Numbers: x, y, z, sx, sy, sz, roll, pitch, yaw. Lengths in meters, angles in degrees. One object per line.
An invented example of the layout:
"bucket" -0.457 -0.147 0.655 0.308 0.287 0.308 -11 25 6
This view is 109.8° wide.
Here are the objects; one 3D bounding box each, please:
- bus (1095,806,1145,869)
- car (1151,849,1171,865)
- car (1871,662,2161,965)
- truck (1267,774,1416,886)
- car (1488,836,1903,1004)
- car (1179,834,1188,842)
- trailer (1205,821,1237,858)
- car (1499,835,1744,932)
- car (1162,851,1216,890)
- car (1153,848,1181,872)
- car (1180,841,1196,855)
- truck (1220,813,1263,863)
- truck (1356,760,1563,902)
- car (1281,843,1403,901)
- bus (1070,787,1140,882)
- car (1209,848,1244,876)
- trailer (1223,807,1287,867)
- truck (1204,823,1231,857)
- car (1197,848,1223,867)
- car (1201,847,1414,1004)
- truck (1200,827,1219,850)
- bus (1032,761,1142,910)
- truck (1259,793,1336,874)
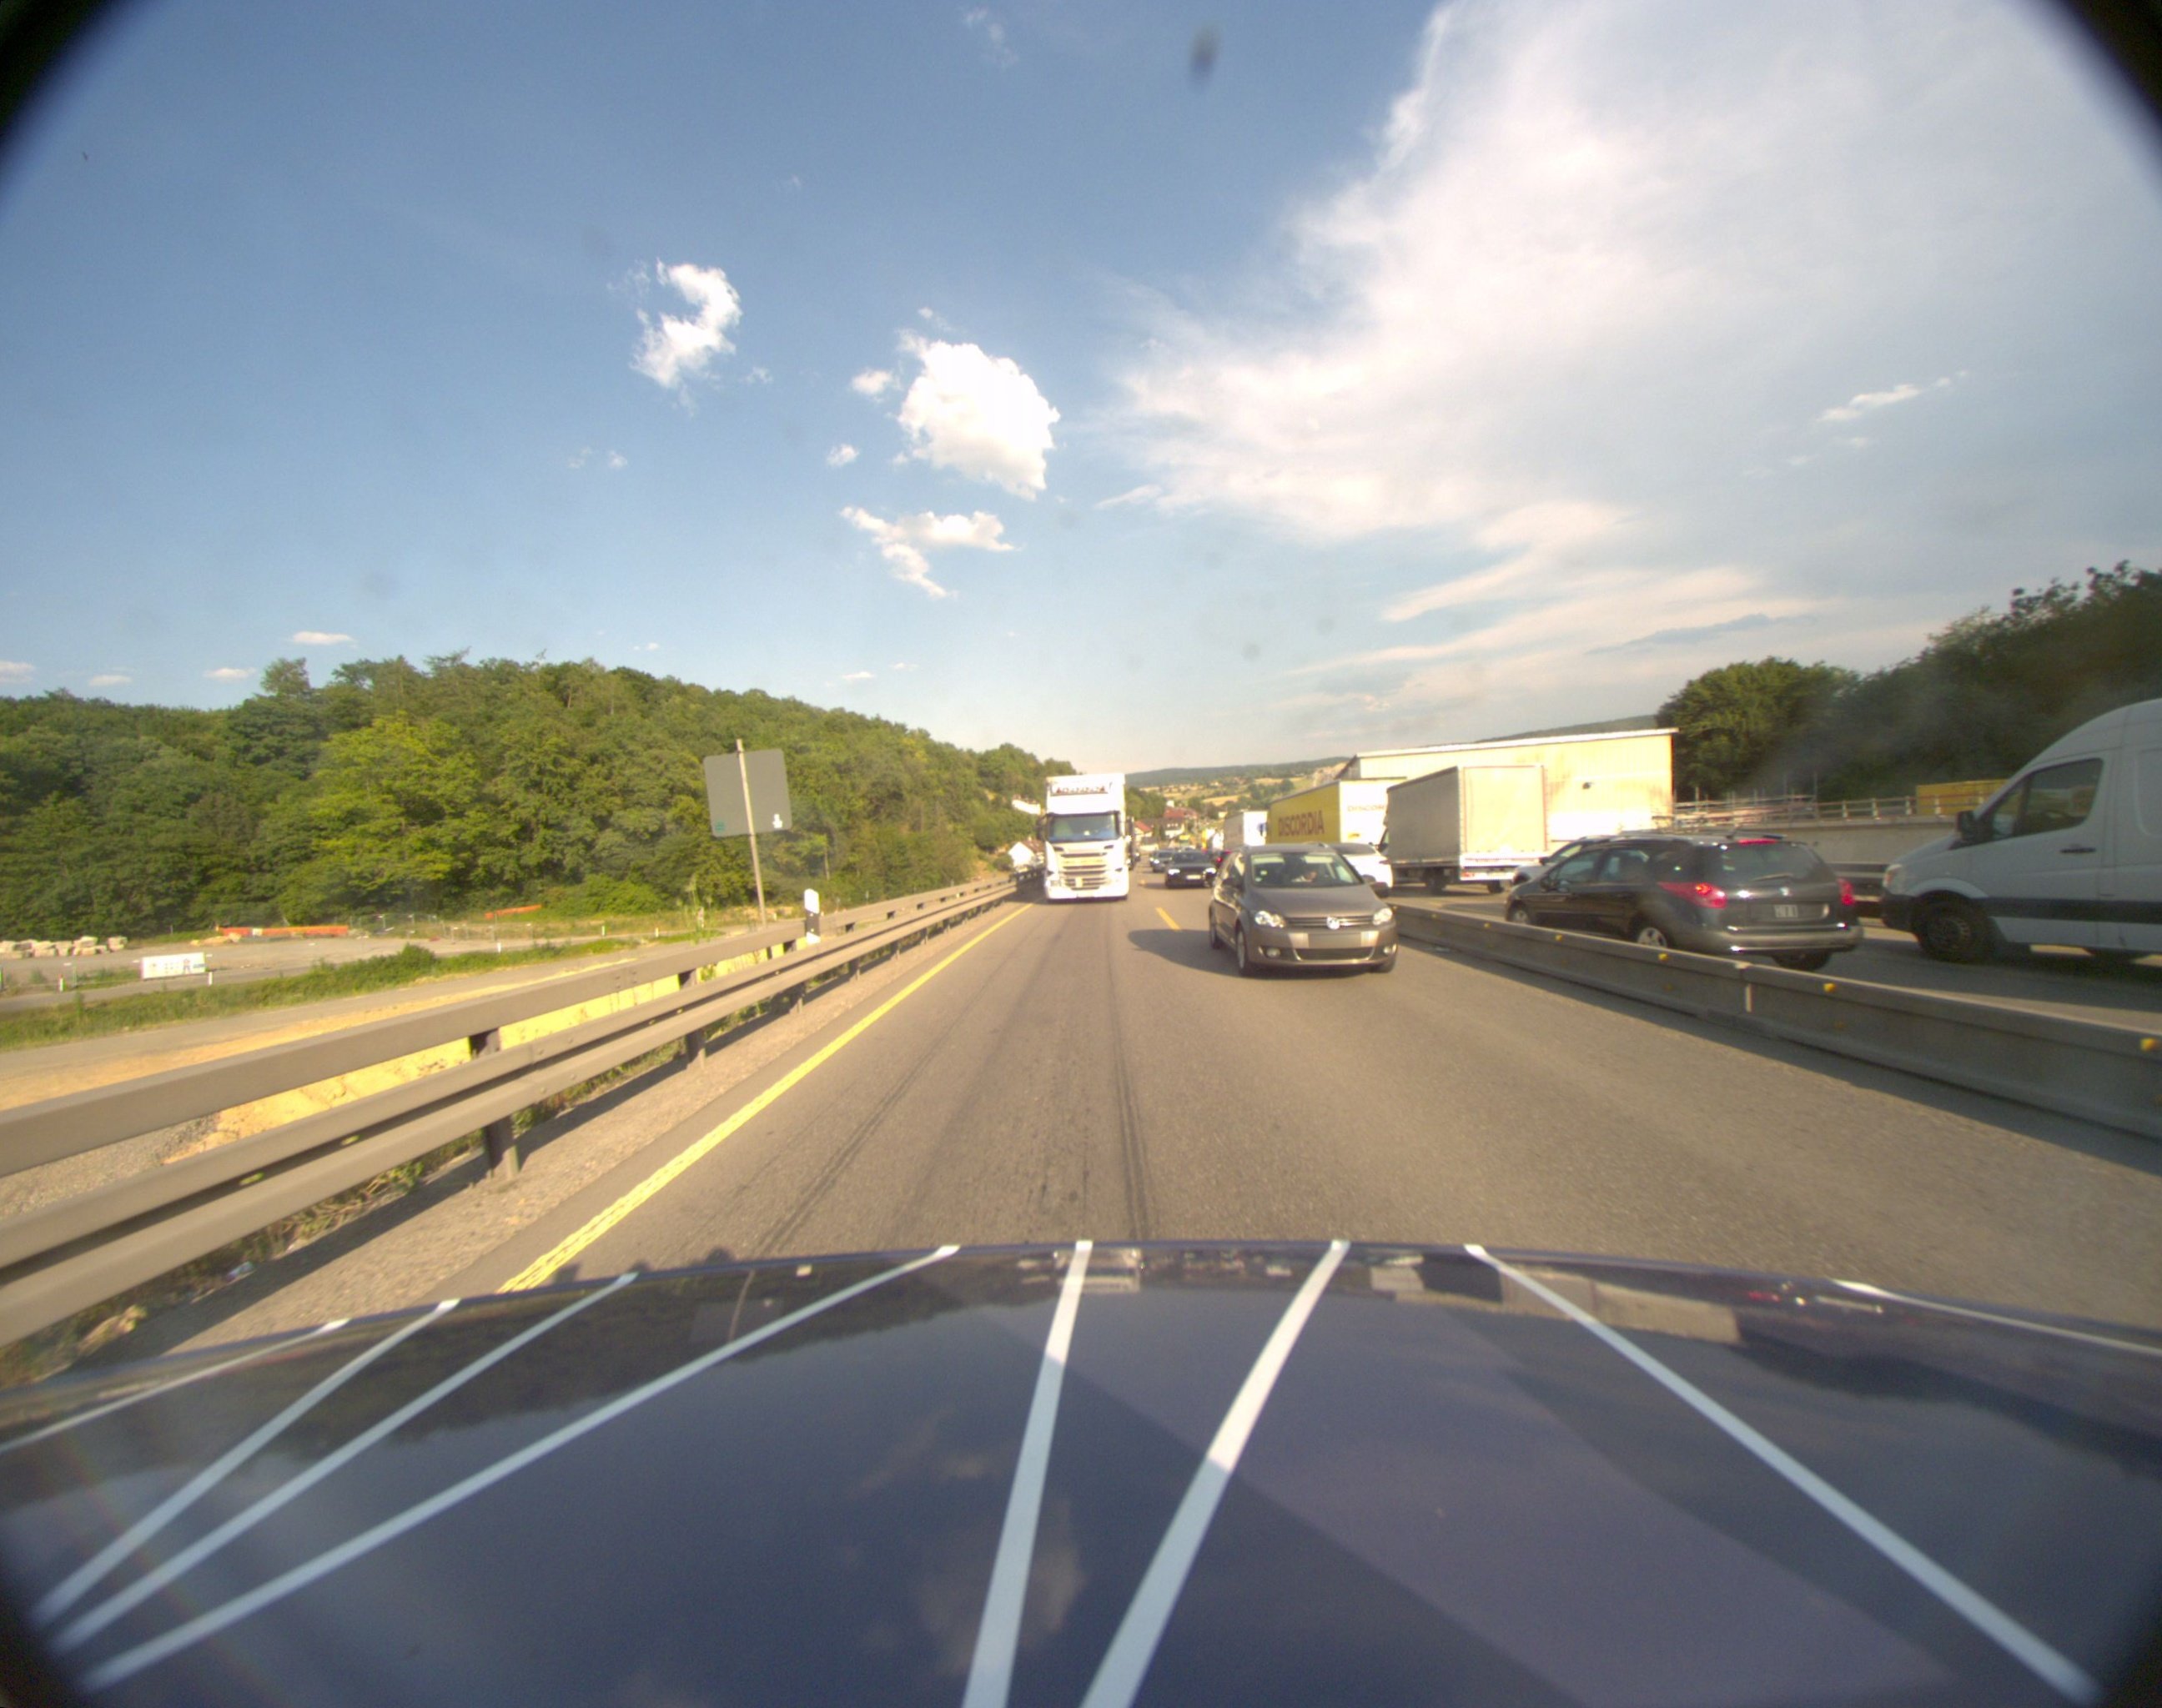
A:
"bus" 3.348 -1.272 61.552 2.983 4.553 10.909 -2 0 8
"car" 7.050 0.233 67.009 1.627 1.239 4.001 -2 1 5
"car" 10.248 -0.358 6.084 1.961 2.606 5.748 -1 1 2
"truck" 11.387 -0.992 35.229 2.714 4.065 14.154 -1 1 3
"car" 6.944 0.652 9.264 1.786 1.513 4.000 -3 -1 1
"car" 28.241 -4.458 209.910 1.822 1.988 4.755 0 0 0
"trailer" 15.790 -1.613 86.267 2.602 3.858 10.580 -1 1 6
"car" 9.916 0.462 14.382 1.768 1.514 4.002 -2 1 0
"car" 4.206 0.606 30.143 1.866 1.391 4.001 -1 1 4
"car" 5.634 0.372 50.011 1.698 1.390 4.002 -3 0 6
"car" 14.342 -0.817 101.972 1.866 1.899 4.001 -1 1 5
"truck" 13.631 -1.349 65.010 2.850 4.013 6.102 -1 1 5
"truck" 10.752 -0.609 22.631 2.453 3.443 7.617 -2 1 1
"car" 7.461 0.497 22.283 2.063 1.478 4.727 1 0 2
"bus" 1.560 -0.975 42.015 2.984 4.553 9.971 -2 0 6
"car" 8.740 0.440 45.824 1.657 1.514 4.288 -2 1 6
"trailer" 13.055 -1.240 58.392 2.863 4.013 13.973 -1 1 5
"truck" 16.306 -1.687 91.085 2.604 3.865 6.204 -1 1 6
"car" 10.761 0.289 63.485 1.811 1.417 4.674 -2 1 6
"car" 2.700 0.735 10.010 1.687 1.565 4.099 -2 1 2
"truck" 21.586 -2.667 127.692 2.898 3.689 9.492 -1 1 8
"bus" 0.620 -0.601 26.706 2.634 4.077 11.317 -1 1 6
"truck" 11.744 -1.091 41.735 2.719 4.065 6.101 -1 1 3
